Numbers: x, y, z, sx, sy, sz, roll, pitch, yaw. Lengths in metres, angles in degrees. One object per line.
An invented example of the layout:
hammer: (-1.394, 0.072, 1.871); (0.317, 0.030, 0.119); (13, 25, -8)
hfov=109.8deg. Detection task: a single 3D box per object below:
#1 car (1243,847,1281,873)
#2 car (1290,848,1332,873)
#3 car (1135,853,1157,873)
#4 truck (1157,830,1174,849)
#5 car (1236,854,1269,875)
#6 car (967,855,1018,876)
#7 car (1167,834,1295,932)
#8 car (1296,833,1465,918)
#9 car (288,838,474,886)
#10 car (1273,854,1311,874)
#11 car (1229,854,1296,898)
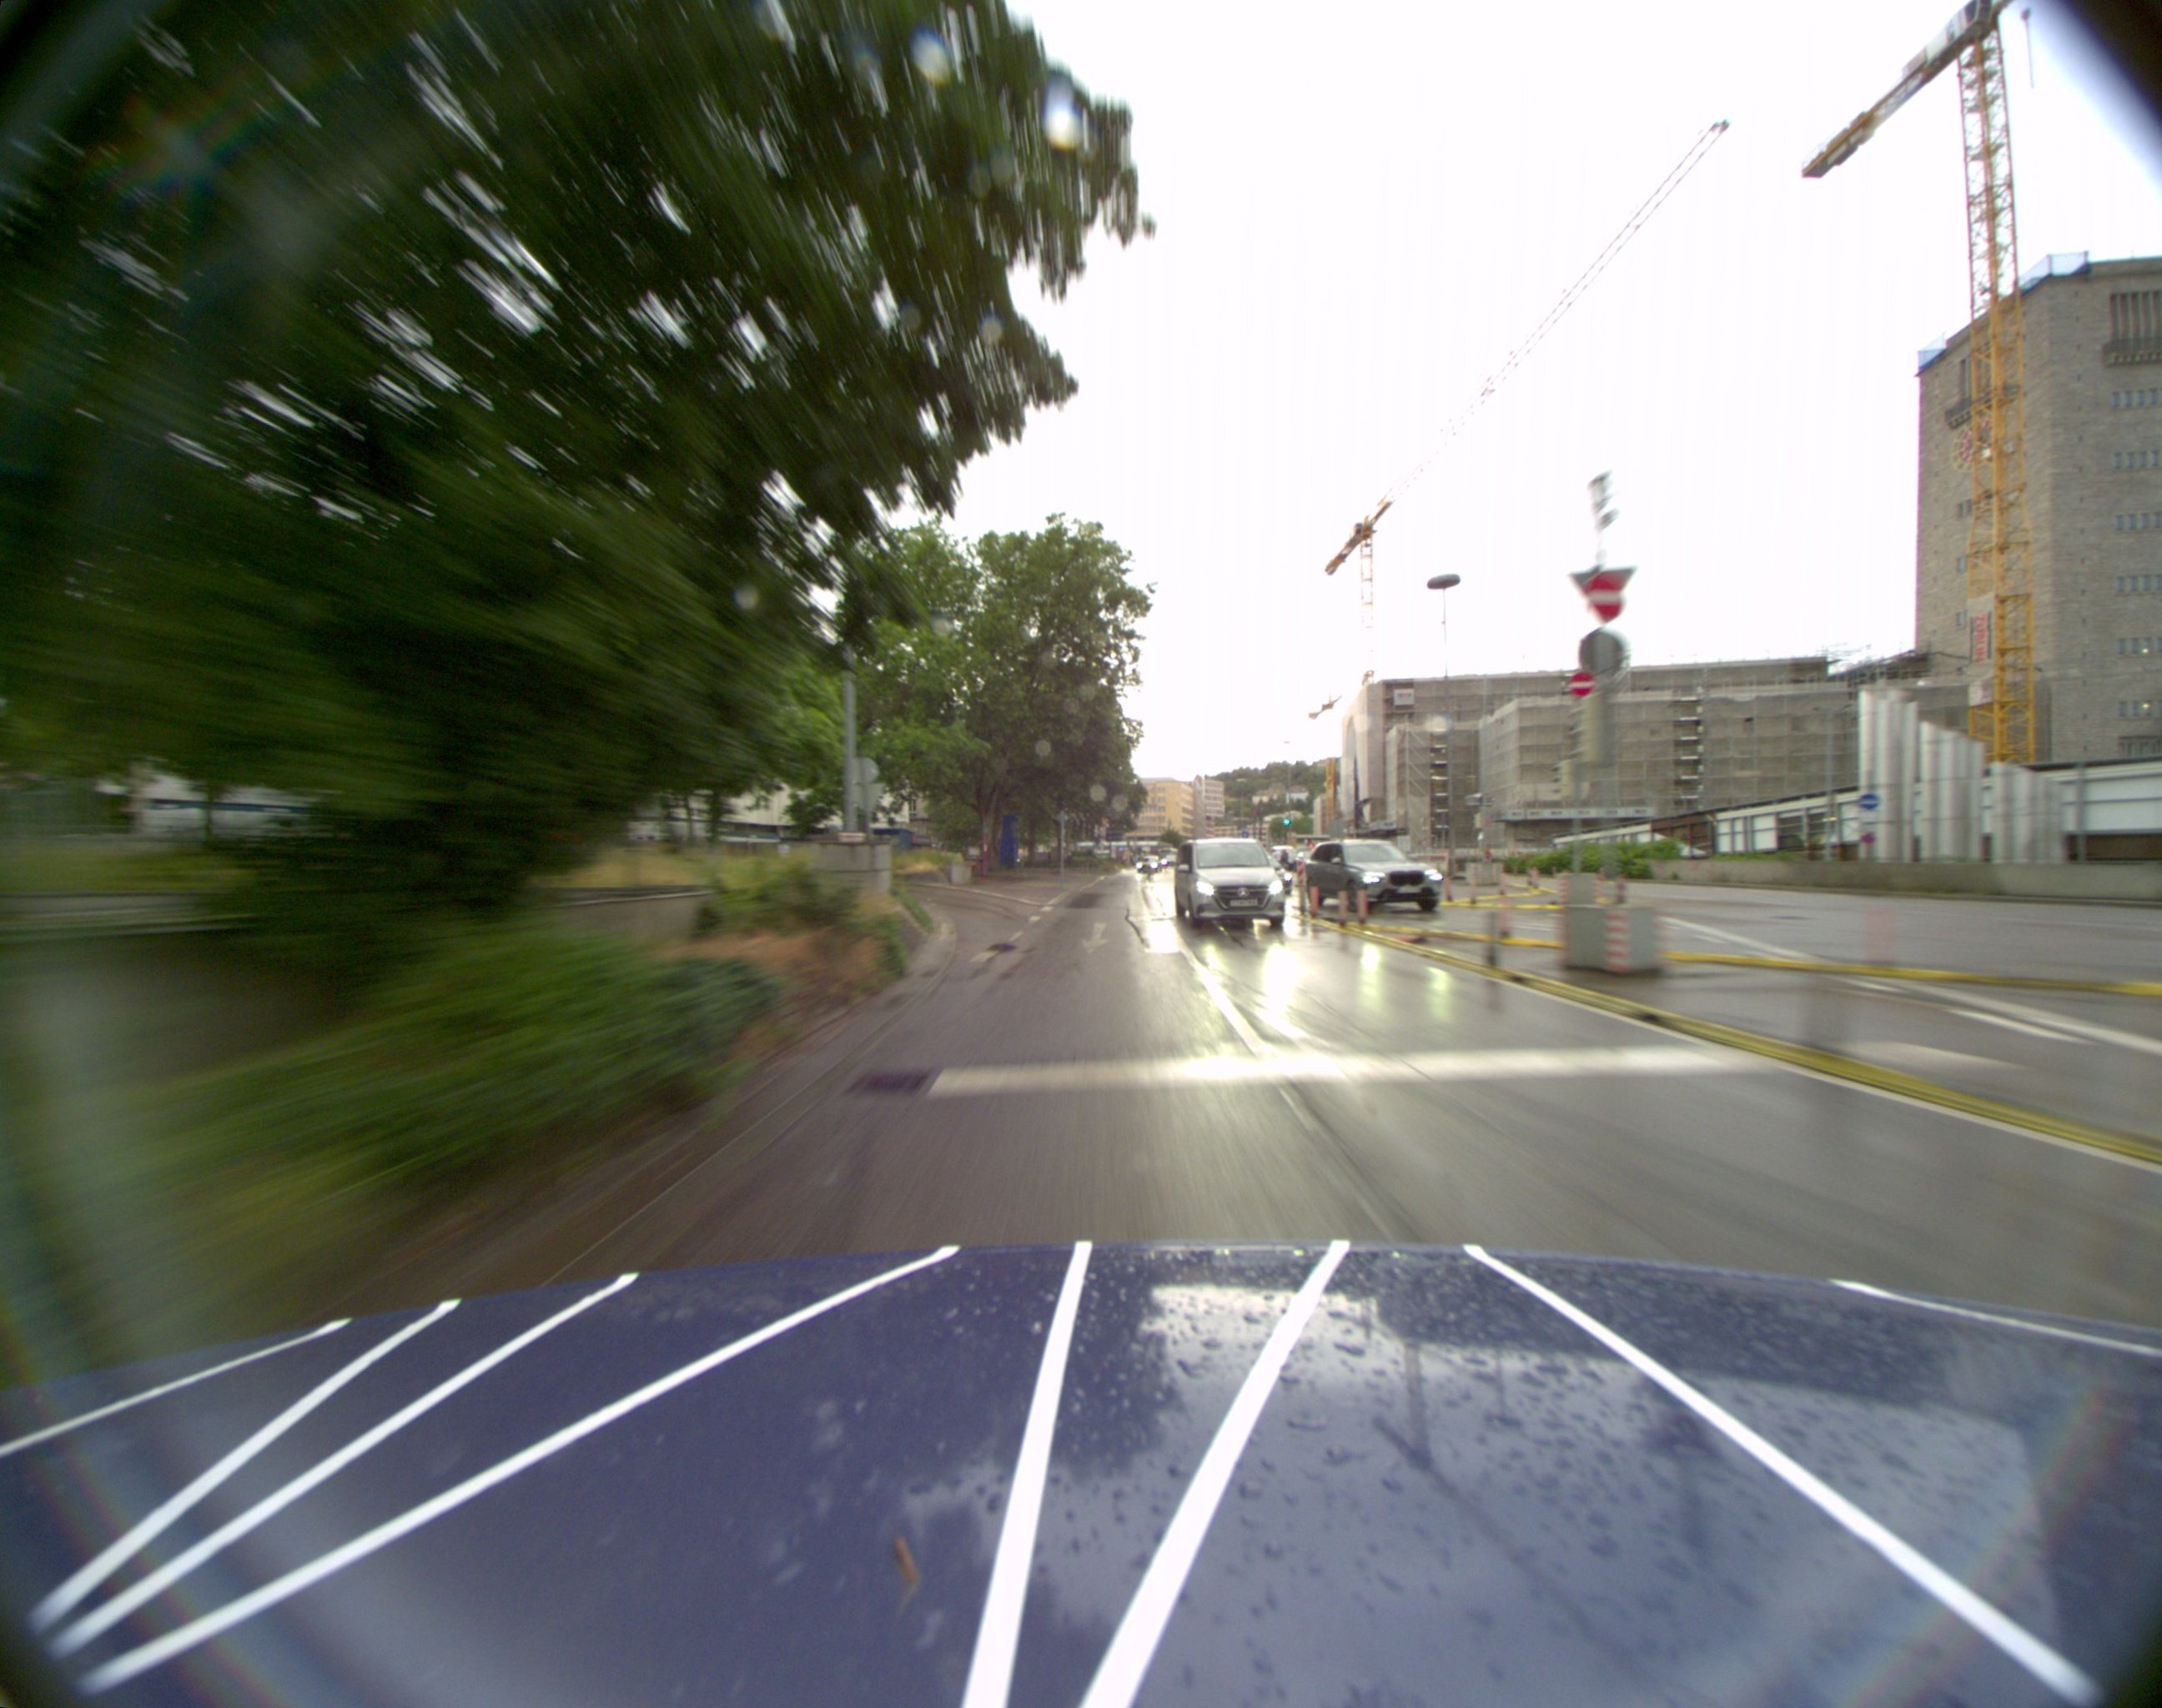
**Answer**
car: (13.012, 0.438, 54.831); (1.998, 1.803, 4.294); (0, 0, 4)
car: (16.247, 0.431, 53.813); (1.831, 1.643, 4.575); (0, 0, 4)
car: (6.183, 0.837, 72.609); (1.998, 1.753, 4.001); (0, 0, 4)
truck: (16.285, -2.761, 146.221); (3.043, 3.395, 8.957); (0, 0, 5)
car: (13.558, 0.824, 60.312); (1.997, 1.644, 4.903); (0, 0, 6)
car: (-6.512, 0.835, 55.842); (1.705, 1.447, 3.988); (0, 0, -43)
car: (3.216, 0.599, 17.443); (1.998, 1.845, 5.359); (-2, -1, 2)
car: (7.469, 0.484, 19.653); (2.215, 1.852, 5.072); (-1, 0, -2)
car: (-25.371, 0.282, 27.819); (4.769, 1.620, 1.995); (0, 0, -34)
car: (16.693, 0.775, 60.299); (2.171, 1.564, 4.001); (0, 0, 4)
car: (7.036, 0.806, 29.915); (1.811, 1.455, 4.921); (4, 0, 6)
